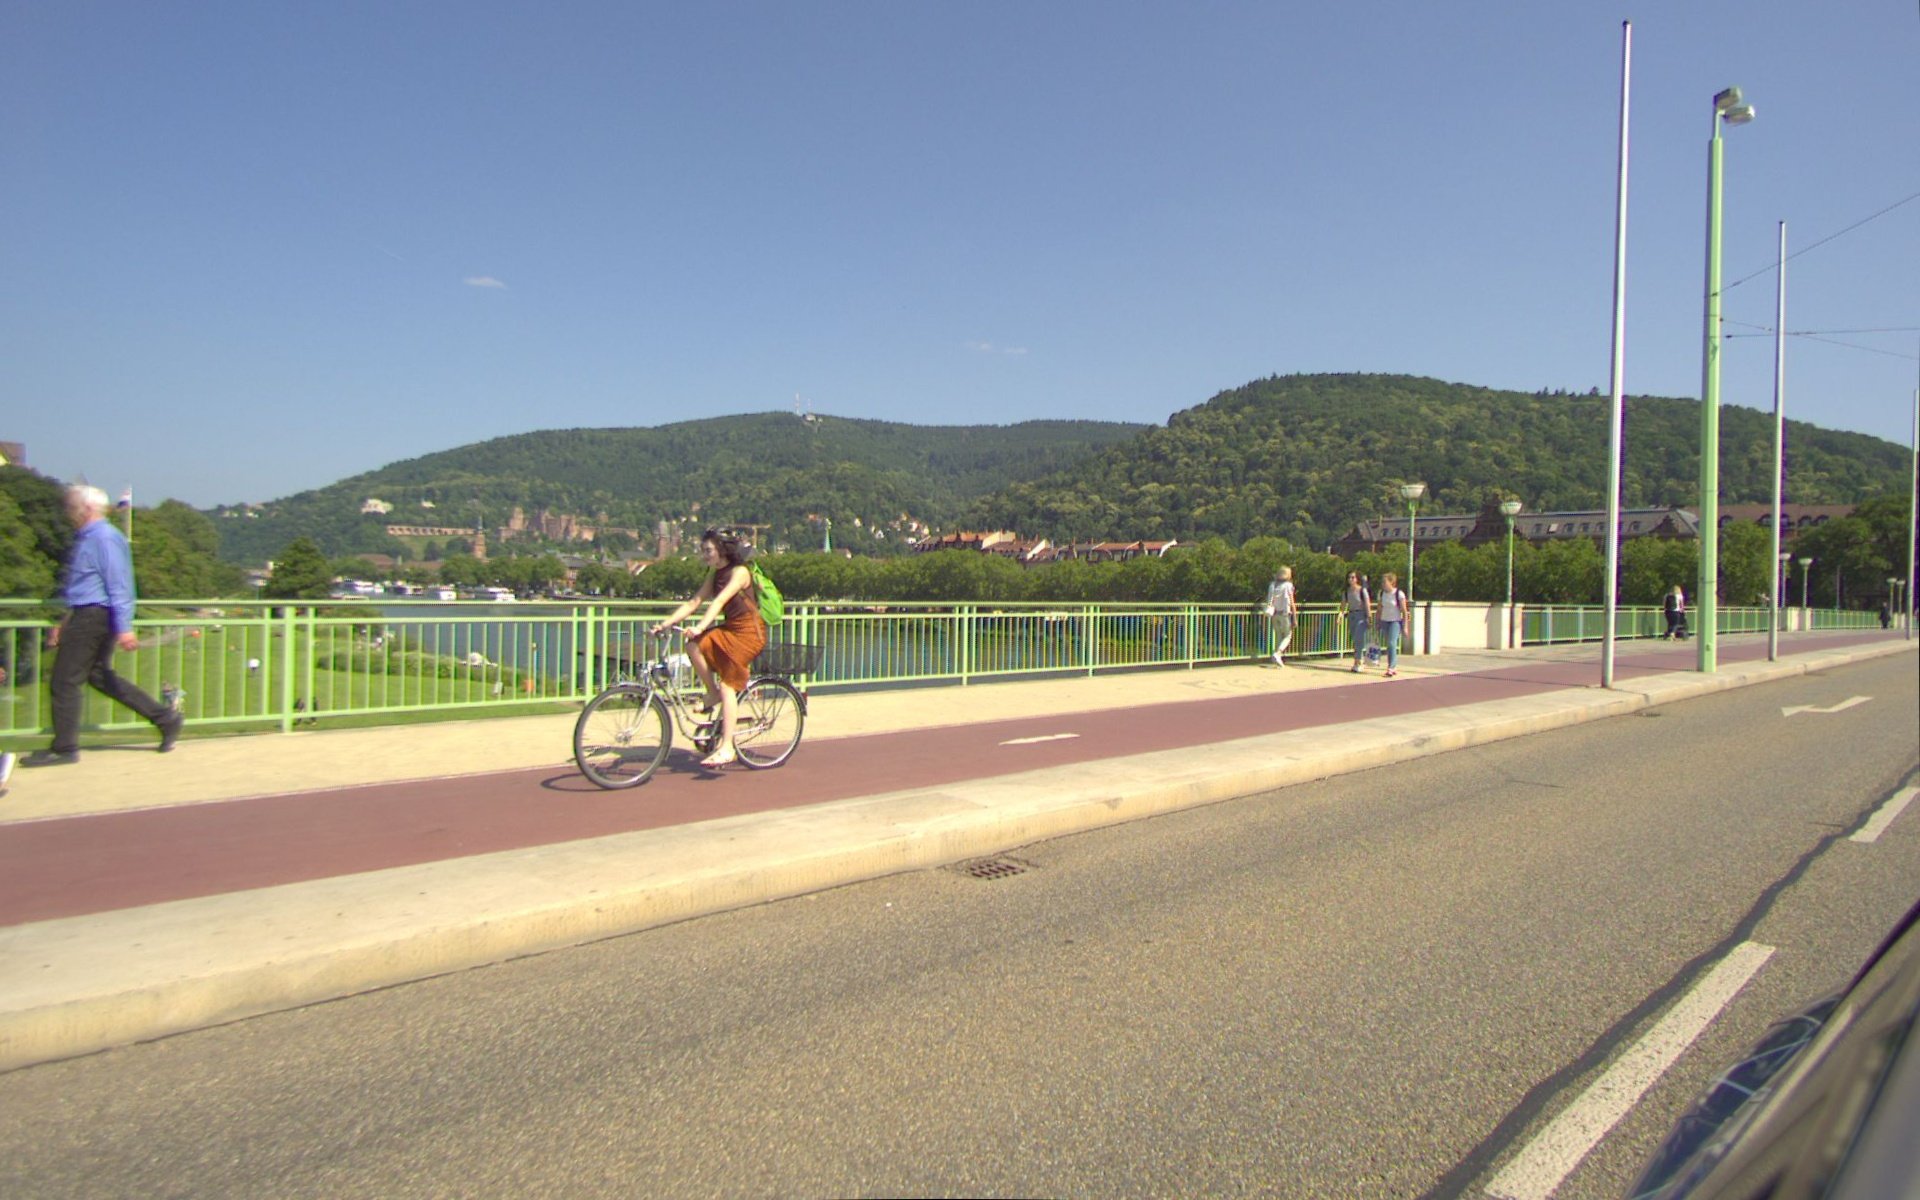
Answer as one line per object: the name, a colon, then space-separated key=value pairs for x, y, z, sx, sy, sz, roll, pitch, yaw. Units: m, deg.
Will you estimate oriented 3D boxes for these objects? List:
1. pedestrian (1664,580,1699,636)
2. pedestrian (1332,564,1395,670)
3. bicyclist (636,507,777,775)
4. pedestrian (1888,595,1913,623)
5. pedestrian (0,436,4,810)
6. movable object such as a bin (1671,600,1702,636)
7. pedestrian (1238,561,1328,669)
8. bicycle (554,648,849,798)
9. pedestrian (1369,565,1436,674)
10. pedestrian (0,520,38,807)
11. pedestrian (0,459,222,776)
pedestrian: x=22.466 y=0.240 z=31.507 sx=0.844 sy=1.727 sz=0.664 roll=0 pitch=2 yaw=-41
pedestrian: x=6.660 y=0.261 z=16.696 sx=0.733 sy=1.679 sz=0.668 roll=0 pitch=2 yaw=-41
bicyclist: x=-1.692 y=0.246 z=6.746 sx=0.689 sy=1.671 sz=0.606 roll=0 pitch=2 yaw=-40
pedestrian: x=59.458 y=0.559 z=63.975 sx=1.063 sy=1.683 sz=0.949 roll=1 pitch=2 yaw=-41
pedestrian: x=-5.257 y=0.141 z=4.724 sx=1.108 sy=1.948 sz=0.812 roll=0 pitch=2 yaw=-41
movable object such as a bin: x=23.056 y=0.555 z=32.105 sx=0.917 sy=1.104 sz=0.583 roll=0 pitch=1 yaw=-42
pedestrian: x=5.331 y=0.227 z=16.705 sx=1.063 sy=1.683 sz=0.949 roll=0 pitch=2 yaw=-41
bicycle: x=-1.678 y=0.764 z=6.771 sx=1.834 sy=0.775 sz=0.595 roll=0 pitch=2 yaw=-41
pedestrian: x=7.040 y=0.291 z=16.101 sx=0.811 sy=1.679 sz=0.664 roll=0 pitch=2 yaw=-41
pedestrian: x=-5.680 y=0.322 z=5.524 sx=0.917 sy=1.548 sz=0.831 roll=0 pitch=2 yaw=-41
pedestrian: x=-5.713 y=0.091 z=6.817 sx=1.117 sy=1.921 sz=0.927 roll=0 pitch=1 yaw=-41
